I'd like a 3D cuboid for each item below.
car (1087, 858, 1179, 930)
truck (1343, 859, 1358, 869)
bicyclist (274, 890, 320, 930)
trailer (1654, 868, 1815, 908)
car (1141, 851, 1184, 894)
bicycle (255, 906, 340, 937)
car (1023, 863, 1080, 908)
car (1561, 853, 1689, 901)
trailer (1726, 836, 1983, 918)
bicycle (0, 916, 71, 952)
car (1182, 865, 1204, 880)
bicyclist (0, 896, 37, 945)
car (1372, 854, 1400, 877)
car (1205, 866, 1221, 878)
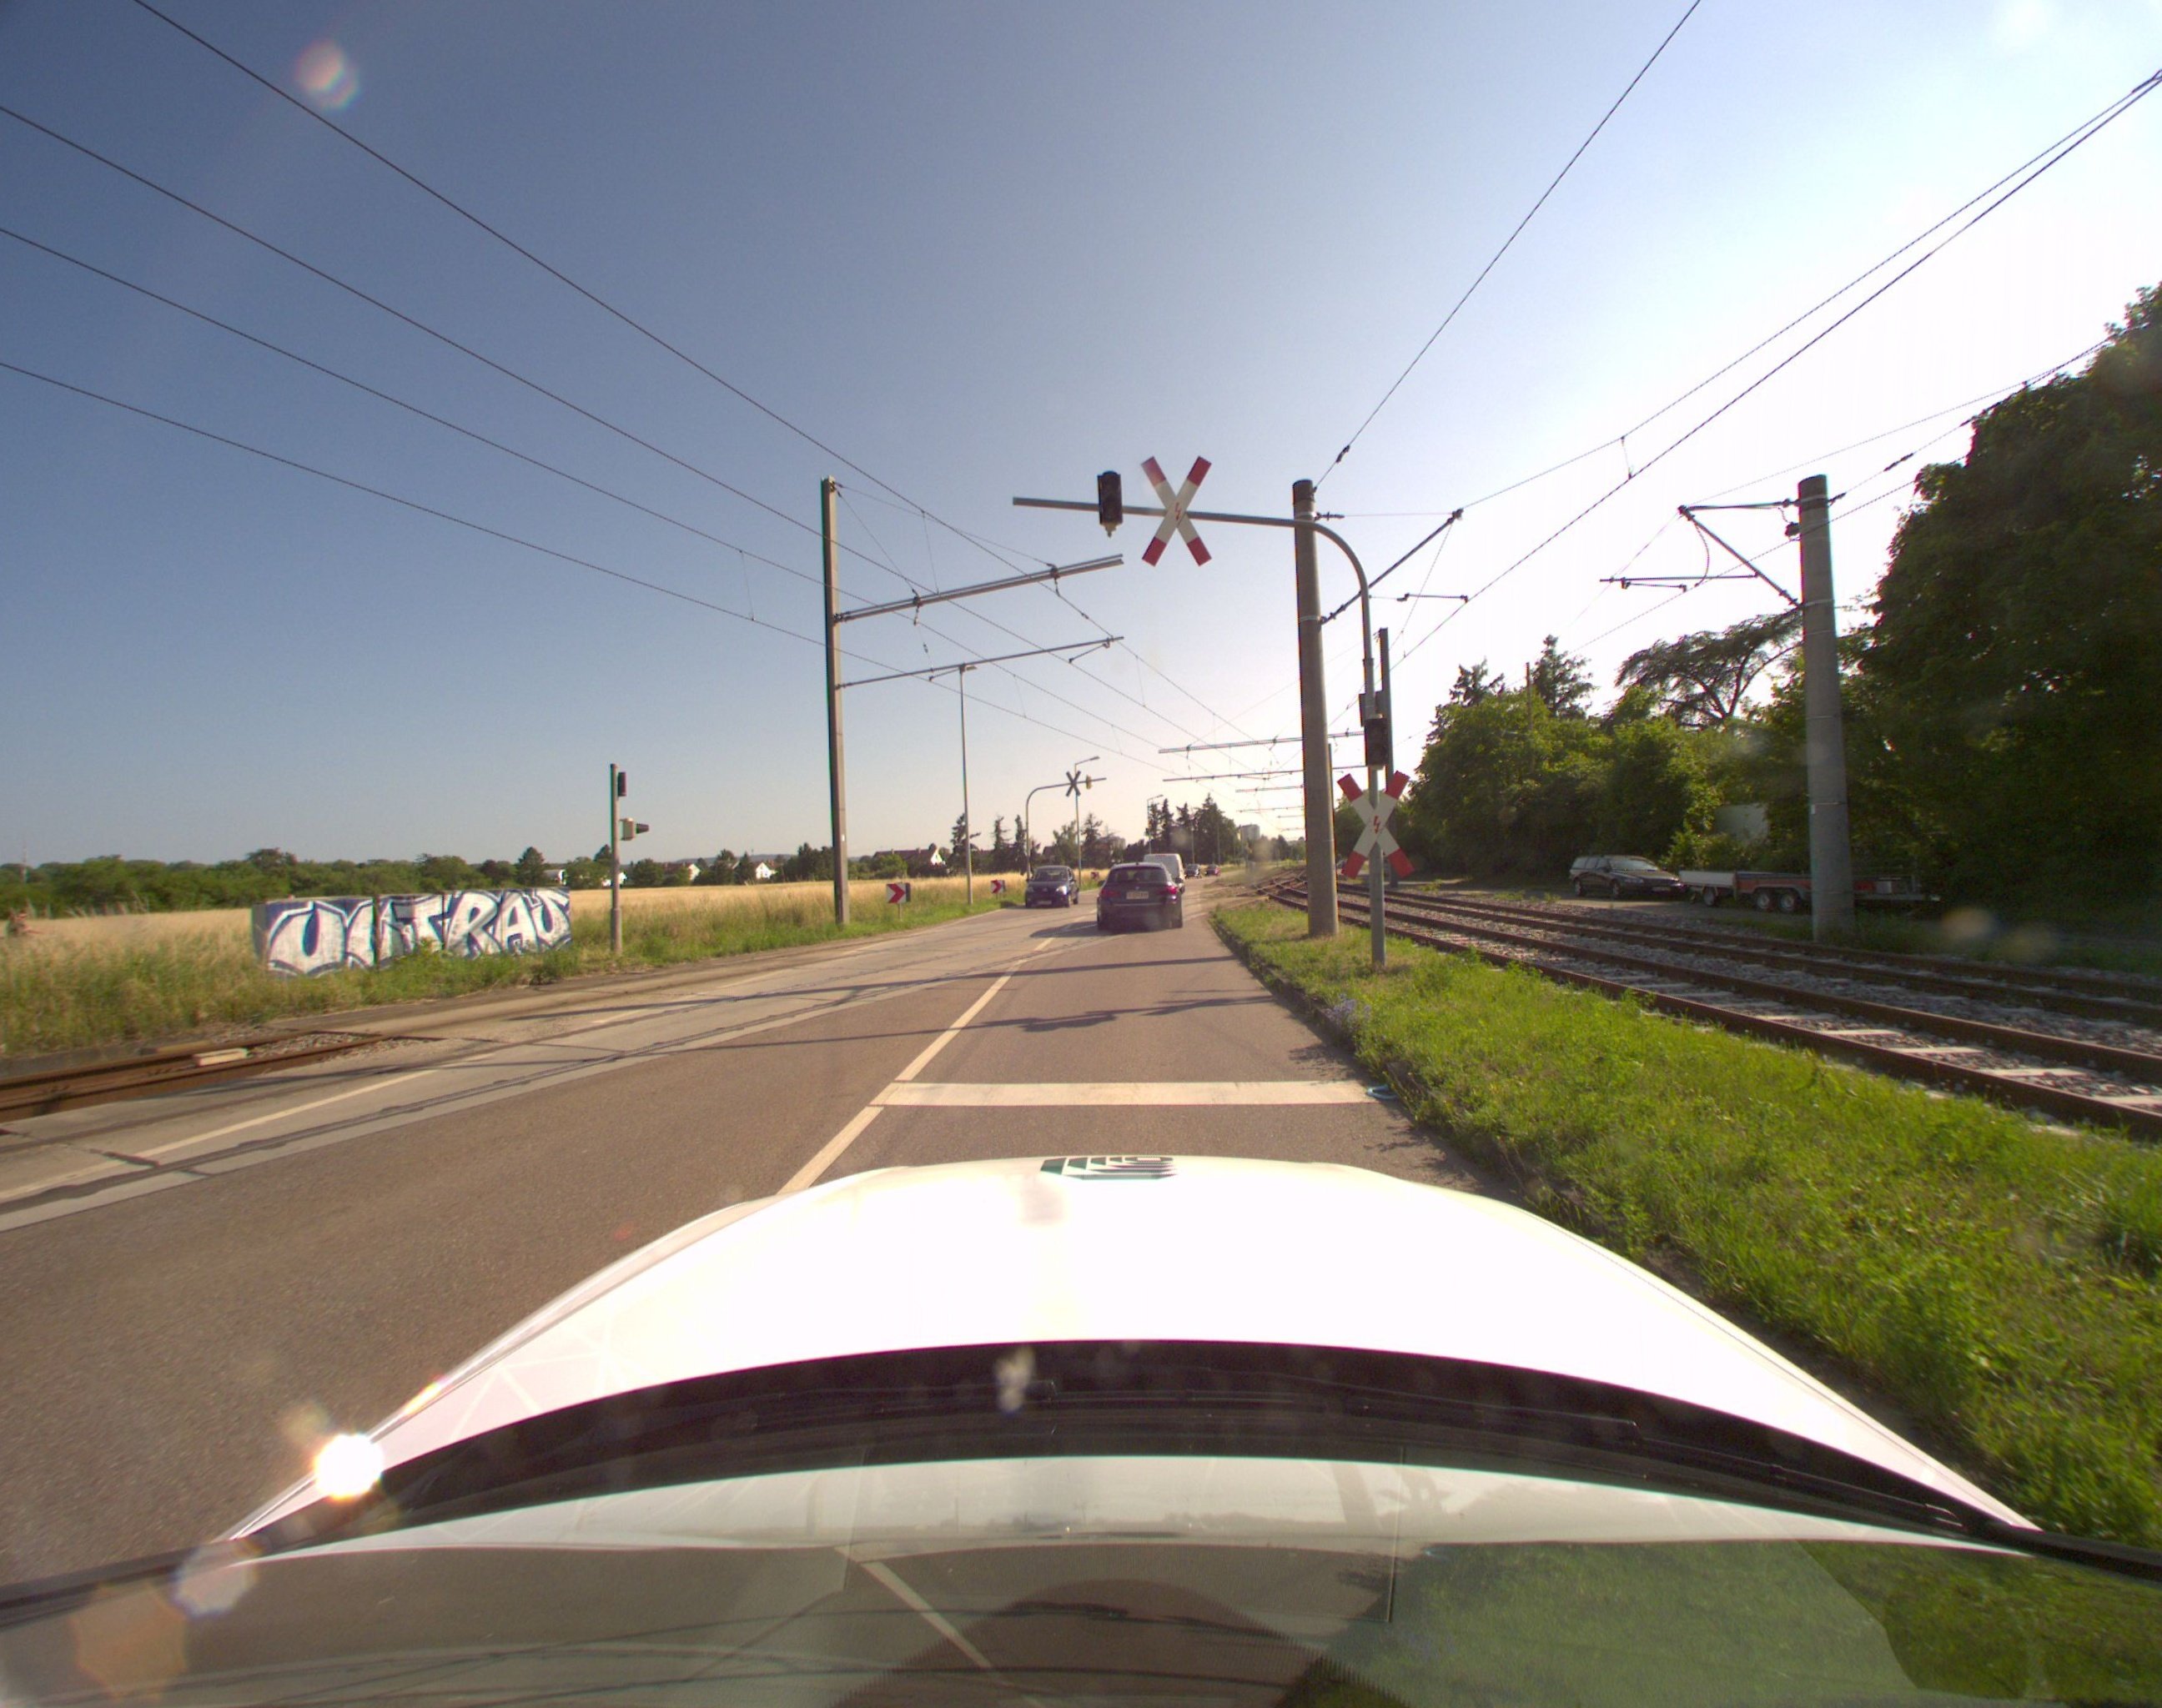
[{"bbox_3d":[1.251,0.841,19.201,1.860,1.452,4.749,-1,0,4],"label":"car"},{"bbox_3d":[48.914,1.853,147.856,2.188,1.819,5.953,-2,-1,16],"label":"truck"},{"bbox_3d":[-24.496,1.755,25.461,0.739,1.205,0.793,-2,-1,22],"label":"bicyclist"},{"bbox_3d":[17.624,0.873,22.190,1.722,0.939,3.735,1,-1,7],"label":"trailer"},{"bbox_3d":[4.178,0.912,41.100,1.847,1.988,5.119,-1,-1,8],"label":"car"},{"bbox_3d":[-24.475,2.092,25.478,0.743,0.839,1.745,-2,-1,22],"label":"bicycle"},{"bbox_3d":[-1.032,1.155,30.760,1.616,1.494,4.005,-3,-1,5],"label":"car"},{"bbox_3d":[17.909,0.705,27.093,1.688,1.456,4.893,1,0,9],"label":"car"},{"bbox_3d":[16.929,0.484,18.195,2.016,1.596,4.267,0,-1,6],"label":"trailer"},{"bbox_3d":[-27.386,2.063,20.897,0.607,0.839,1.745,-2,-1,22],"label":"bicycle"},{"bbox_3d":[13.083,2.139,94.728,1.692,1.665,4.611,-2,-1,18],"label":"car"},{"bbox_3d":[-27.440,1.704,20.809,0.597,1.205,0.794,-2,-1,22],"label":"bicyclist"},{"bbox_3d":[28.014,1.053,74.966,1.979,2.004,5.087,1,-1,15],"label":"car"},{"bbox_3d":[17.680,2.354,108.688,1.700,1.549,3.944,-2,-1,15],"label":"car"}]
